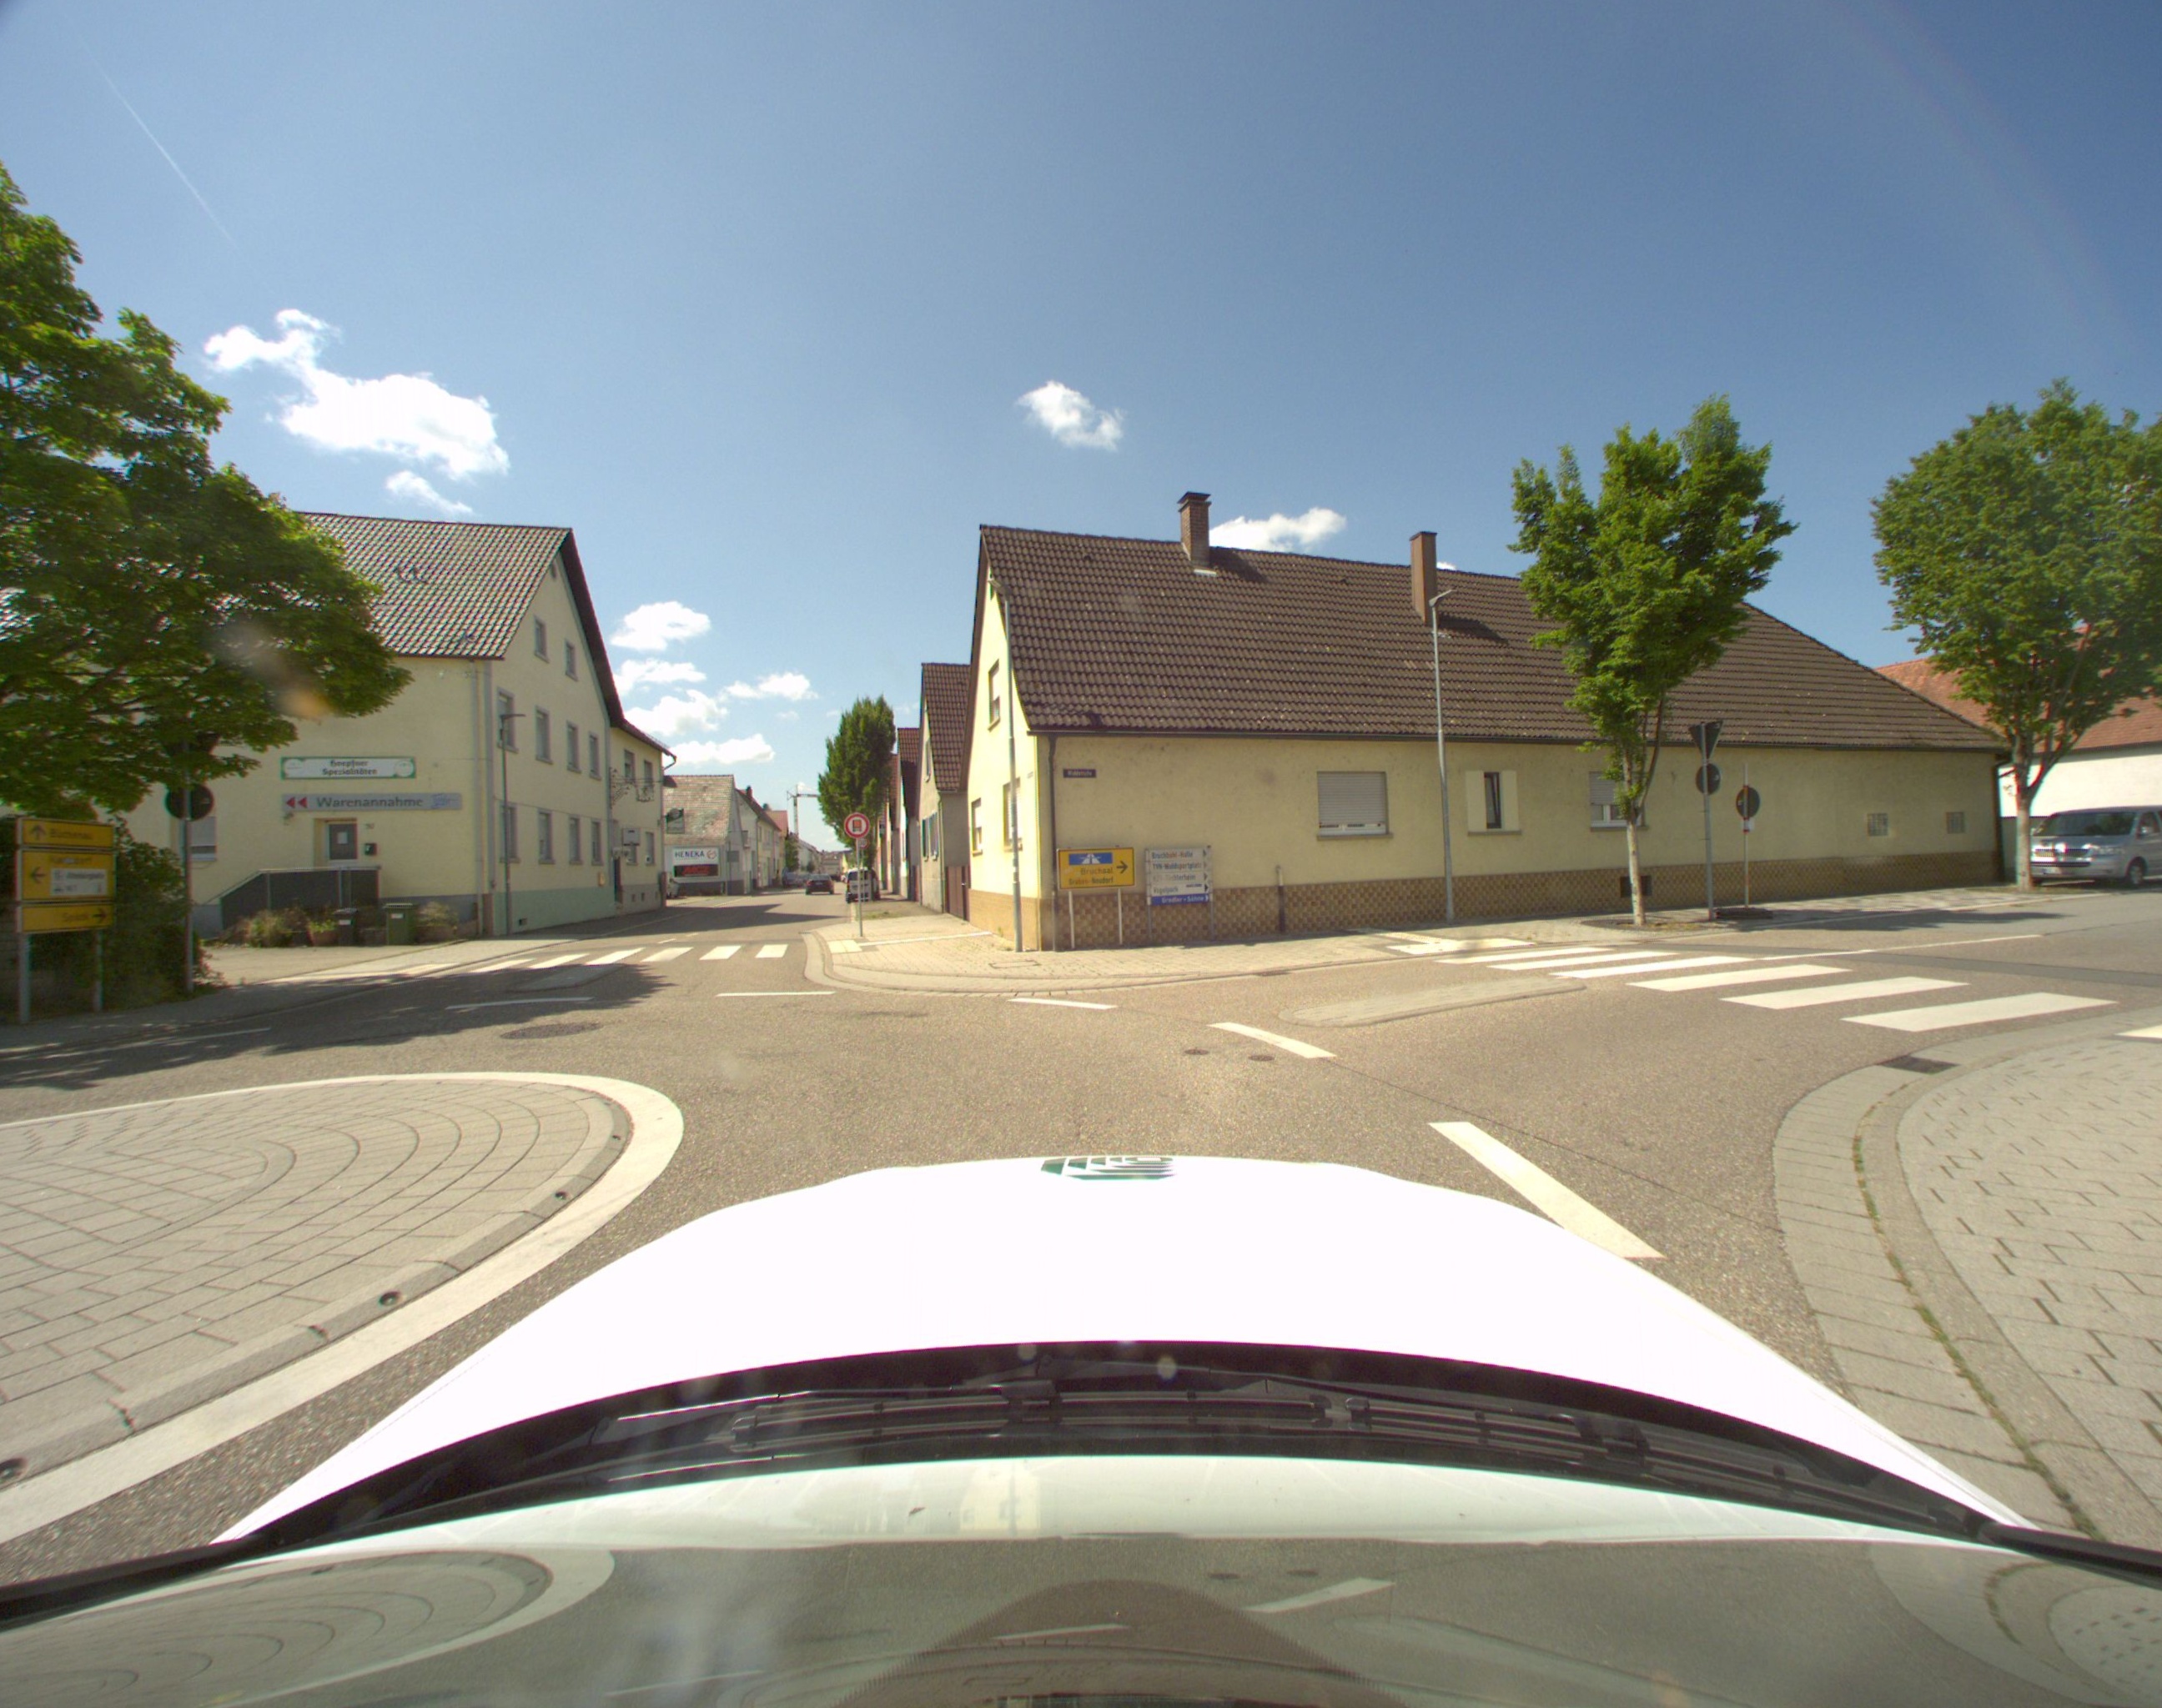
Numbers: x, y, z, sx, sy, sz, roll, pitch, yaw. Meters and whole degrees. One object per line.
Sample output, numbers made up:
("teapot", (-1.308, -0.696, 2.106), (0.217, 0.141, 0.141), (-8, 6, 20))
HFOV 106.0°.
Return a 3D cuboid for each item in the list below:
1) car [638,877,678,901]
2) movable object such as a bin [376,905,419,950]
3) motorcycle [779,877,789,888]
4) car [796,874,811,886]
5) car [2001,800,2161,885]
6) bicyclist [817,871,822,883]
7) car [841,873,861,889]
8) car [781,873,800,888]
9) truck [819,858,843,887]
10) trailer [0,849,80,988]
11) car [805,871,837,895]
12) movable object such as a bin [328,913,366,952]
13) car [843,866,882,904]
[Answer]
("car", (-28.856, 2.346, 55.660), (1.724, 1.556, 4.173), (0, -1, -18))
("movable object such as a bin", (-17.513, 1.864, 20.874), (0.600, 1.079, 0.655), (-2, -1, -14))
("motorcycle", (-31.550, 3.036, 86.615), (0.848, 1.170, 2.454), (0, -2, -18))
("car", (-38.868, 3.668, 114.237), (1.814, 1.589, 3.976), (-1, -1, -17))
("car", (25.791, -0.329, 20.457), (4.478, 1.938, 1.987), (-2, 0, -19))
("bicyclist", (-42.996, 3.749, 133.697), (0.742, 2.059, 0.838), (0, -2, -20))
("car", (-22.091, 2.608, 78.447), (1.722, 1.461, 4.135), (-1, -1, -15))
("car", (-32.290, 2.932, 90.590), (1.814, 1.589, 3.976), (-1, -1, -17))
("truck", (-38.373, 2.813, 125.167), (3.150, 4.251, 9.253), (0, -2, -15))
("trailer", (-18.841, 1.074, 12.628), (1.883, 2.335, 4.499), (0, -1, -16))
("car", (-18.668, 2.069, 58.596), (1.906, 1.564, 4.453), (-1, -1, -15))
("movable object such as a bin", (-18.482, 1.968, 20.508), (0.480, 0.928, 0.544), (-2, -1, -14))
("car", (-11.718, 1.619, 43.578), (1.724, 1.790, 4.118), (-3, 0, -18))
